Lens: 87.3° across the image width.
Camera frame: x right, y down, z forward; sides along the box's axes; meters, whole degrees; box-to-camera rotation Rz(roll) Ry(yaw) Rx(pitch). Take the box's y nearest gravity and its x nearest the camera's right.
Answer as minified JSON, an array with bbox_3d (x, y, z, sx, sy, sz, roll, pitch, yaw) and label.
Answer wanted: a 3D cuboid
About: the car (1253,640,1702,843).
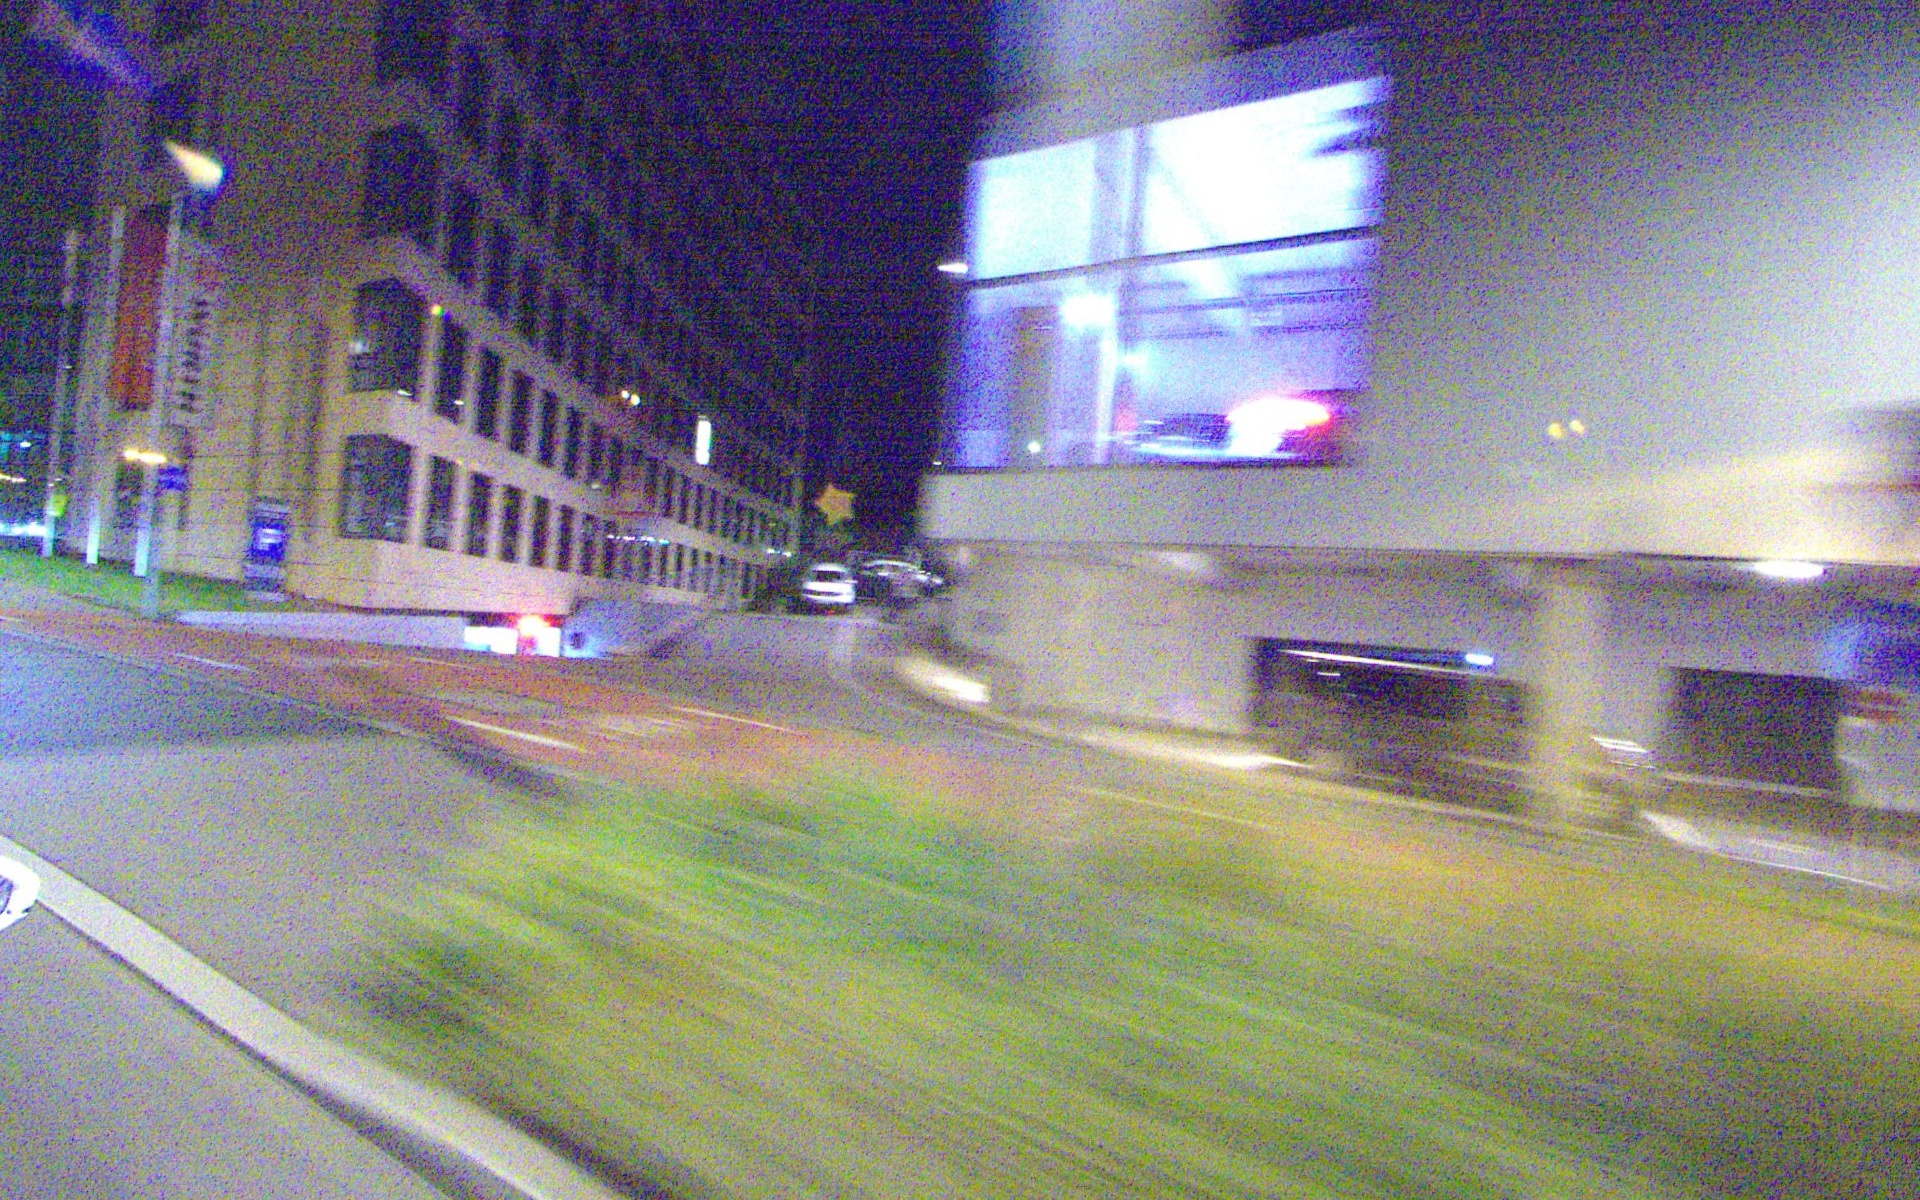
[{"bbox_3d":[7.556,1.964,15.271,5.530,2.038,1.998,6,-1,28],"label":"car"}]

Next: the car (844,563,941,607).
[{"bbox_3d":[-2.825,-0.658,42.733,3.923,1.672,1.786,1,4,1],"label":"car"}]

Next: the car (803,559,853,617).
[{"bbox_3d":[-5.096,-0.522,38.457,1.604,1.685,3.981,2,8,-12],"label":"car"}]

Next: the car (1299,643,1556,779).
[{"bbox_3d":[9.360,2.155,20.354,4.332,2.018,1.956,6,-1,27],"label":"car"}]

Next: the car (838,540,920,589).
[{"bbox_3d":[-4.330,-1.904,54.316,3.924,2.038,2.002,7,-1,7],"label":"car"}]

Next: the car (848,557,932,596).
[{"bbox_3d":[-3.917,-1.315,56.760,4.304,1.663,1.868,7,-1,7],"label":"car"}]

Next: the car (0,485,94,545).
[{"bbox_3d":[-35.972,-3.311,38.509,1.962,1.884,3.780,6,-1,7],"label":"car"}]

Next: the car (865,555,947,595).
[{"bbox_3d":[-3.196,-1.480,59.873,4.435,1.742,2.002,7,-1,7],"label":"car"}]

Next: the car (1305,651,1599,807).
[{"bbox_3d":[8.649,2.186,17.975,4.332,2.018,1.816,6,-1,27],"label":"car"}]
